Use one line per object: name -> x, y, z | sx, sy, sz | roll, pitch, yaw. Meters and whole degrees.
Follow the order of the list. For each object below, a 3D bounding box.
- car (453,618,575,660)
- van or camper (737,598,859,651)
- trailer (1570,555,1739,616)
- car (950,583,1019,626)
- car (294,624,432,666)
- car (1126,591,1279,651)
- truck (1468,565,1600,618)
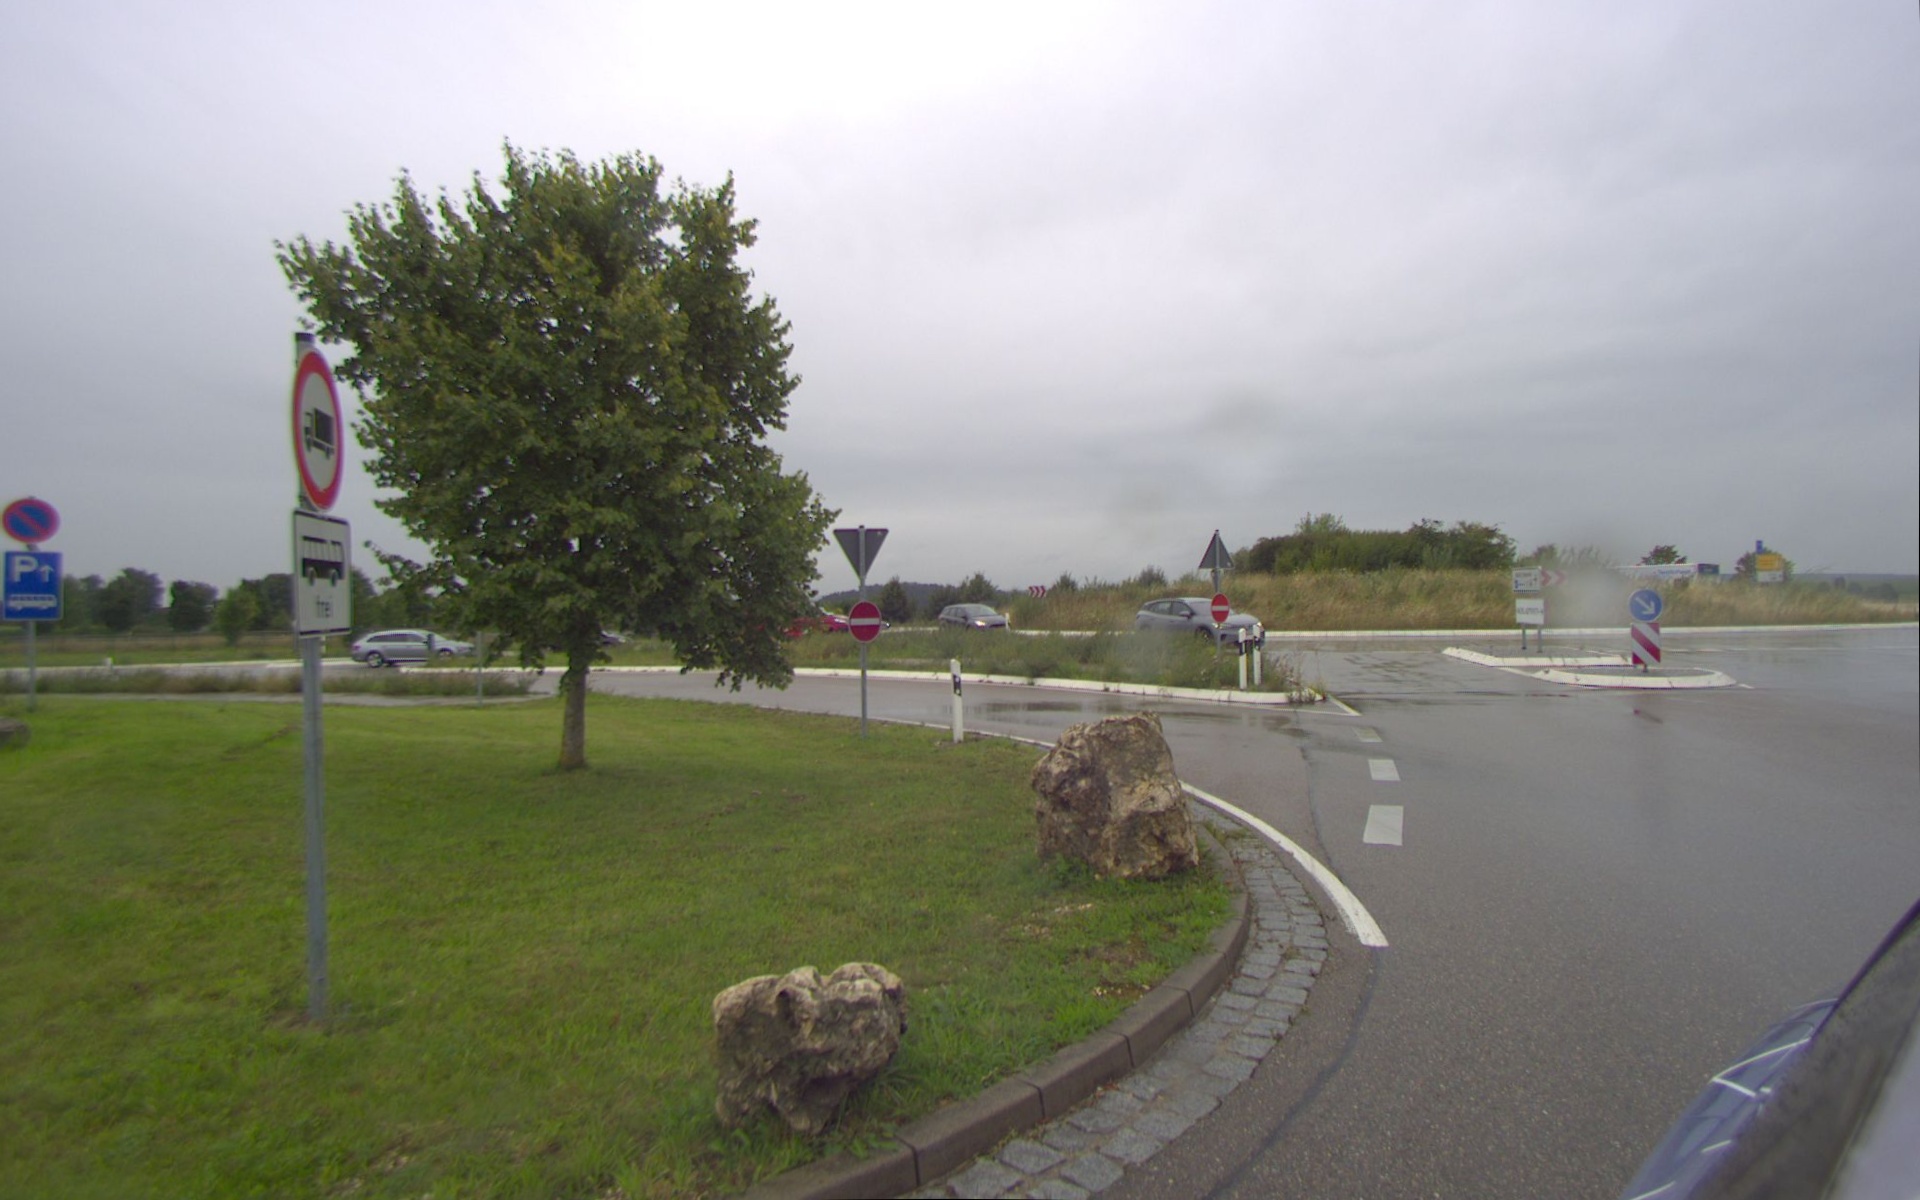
car -> -19.092, 1.665, 43.474 | 4.431, 1.624, 2.002 | -2, -2, -9
van or camper -> -6.870, 1.032, 43.289 | 4.761, 2.038, 1.998 | -2, 1, 5
trailer -> 45.938, -0.851, 67.338 | 3.036, 3.661, 8.871 | -1, -1, -25
car -> 0.986, 0.187, 42.824 | 1.789, 1.610, 4.008 | -4, 1, -15
car -> -24.966, 1.868, 42.485 | 4.567, 1.500, 2.003 | -1, 1, -8
car -> 7.159, 0.575, 30.339 | 1.960, 1.594, 4.506 | -2, 1, -27
truck -> 42.402, -0.541, 75.120 | 3.052, 3.644, 8.185 | -1, -1, -24
